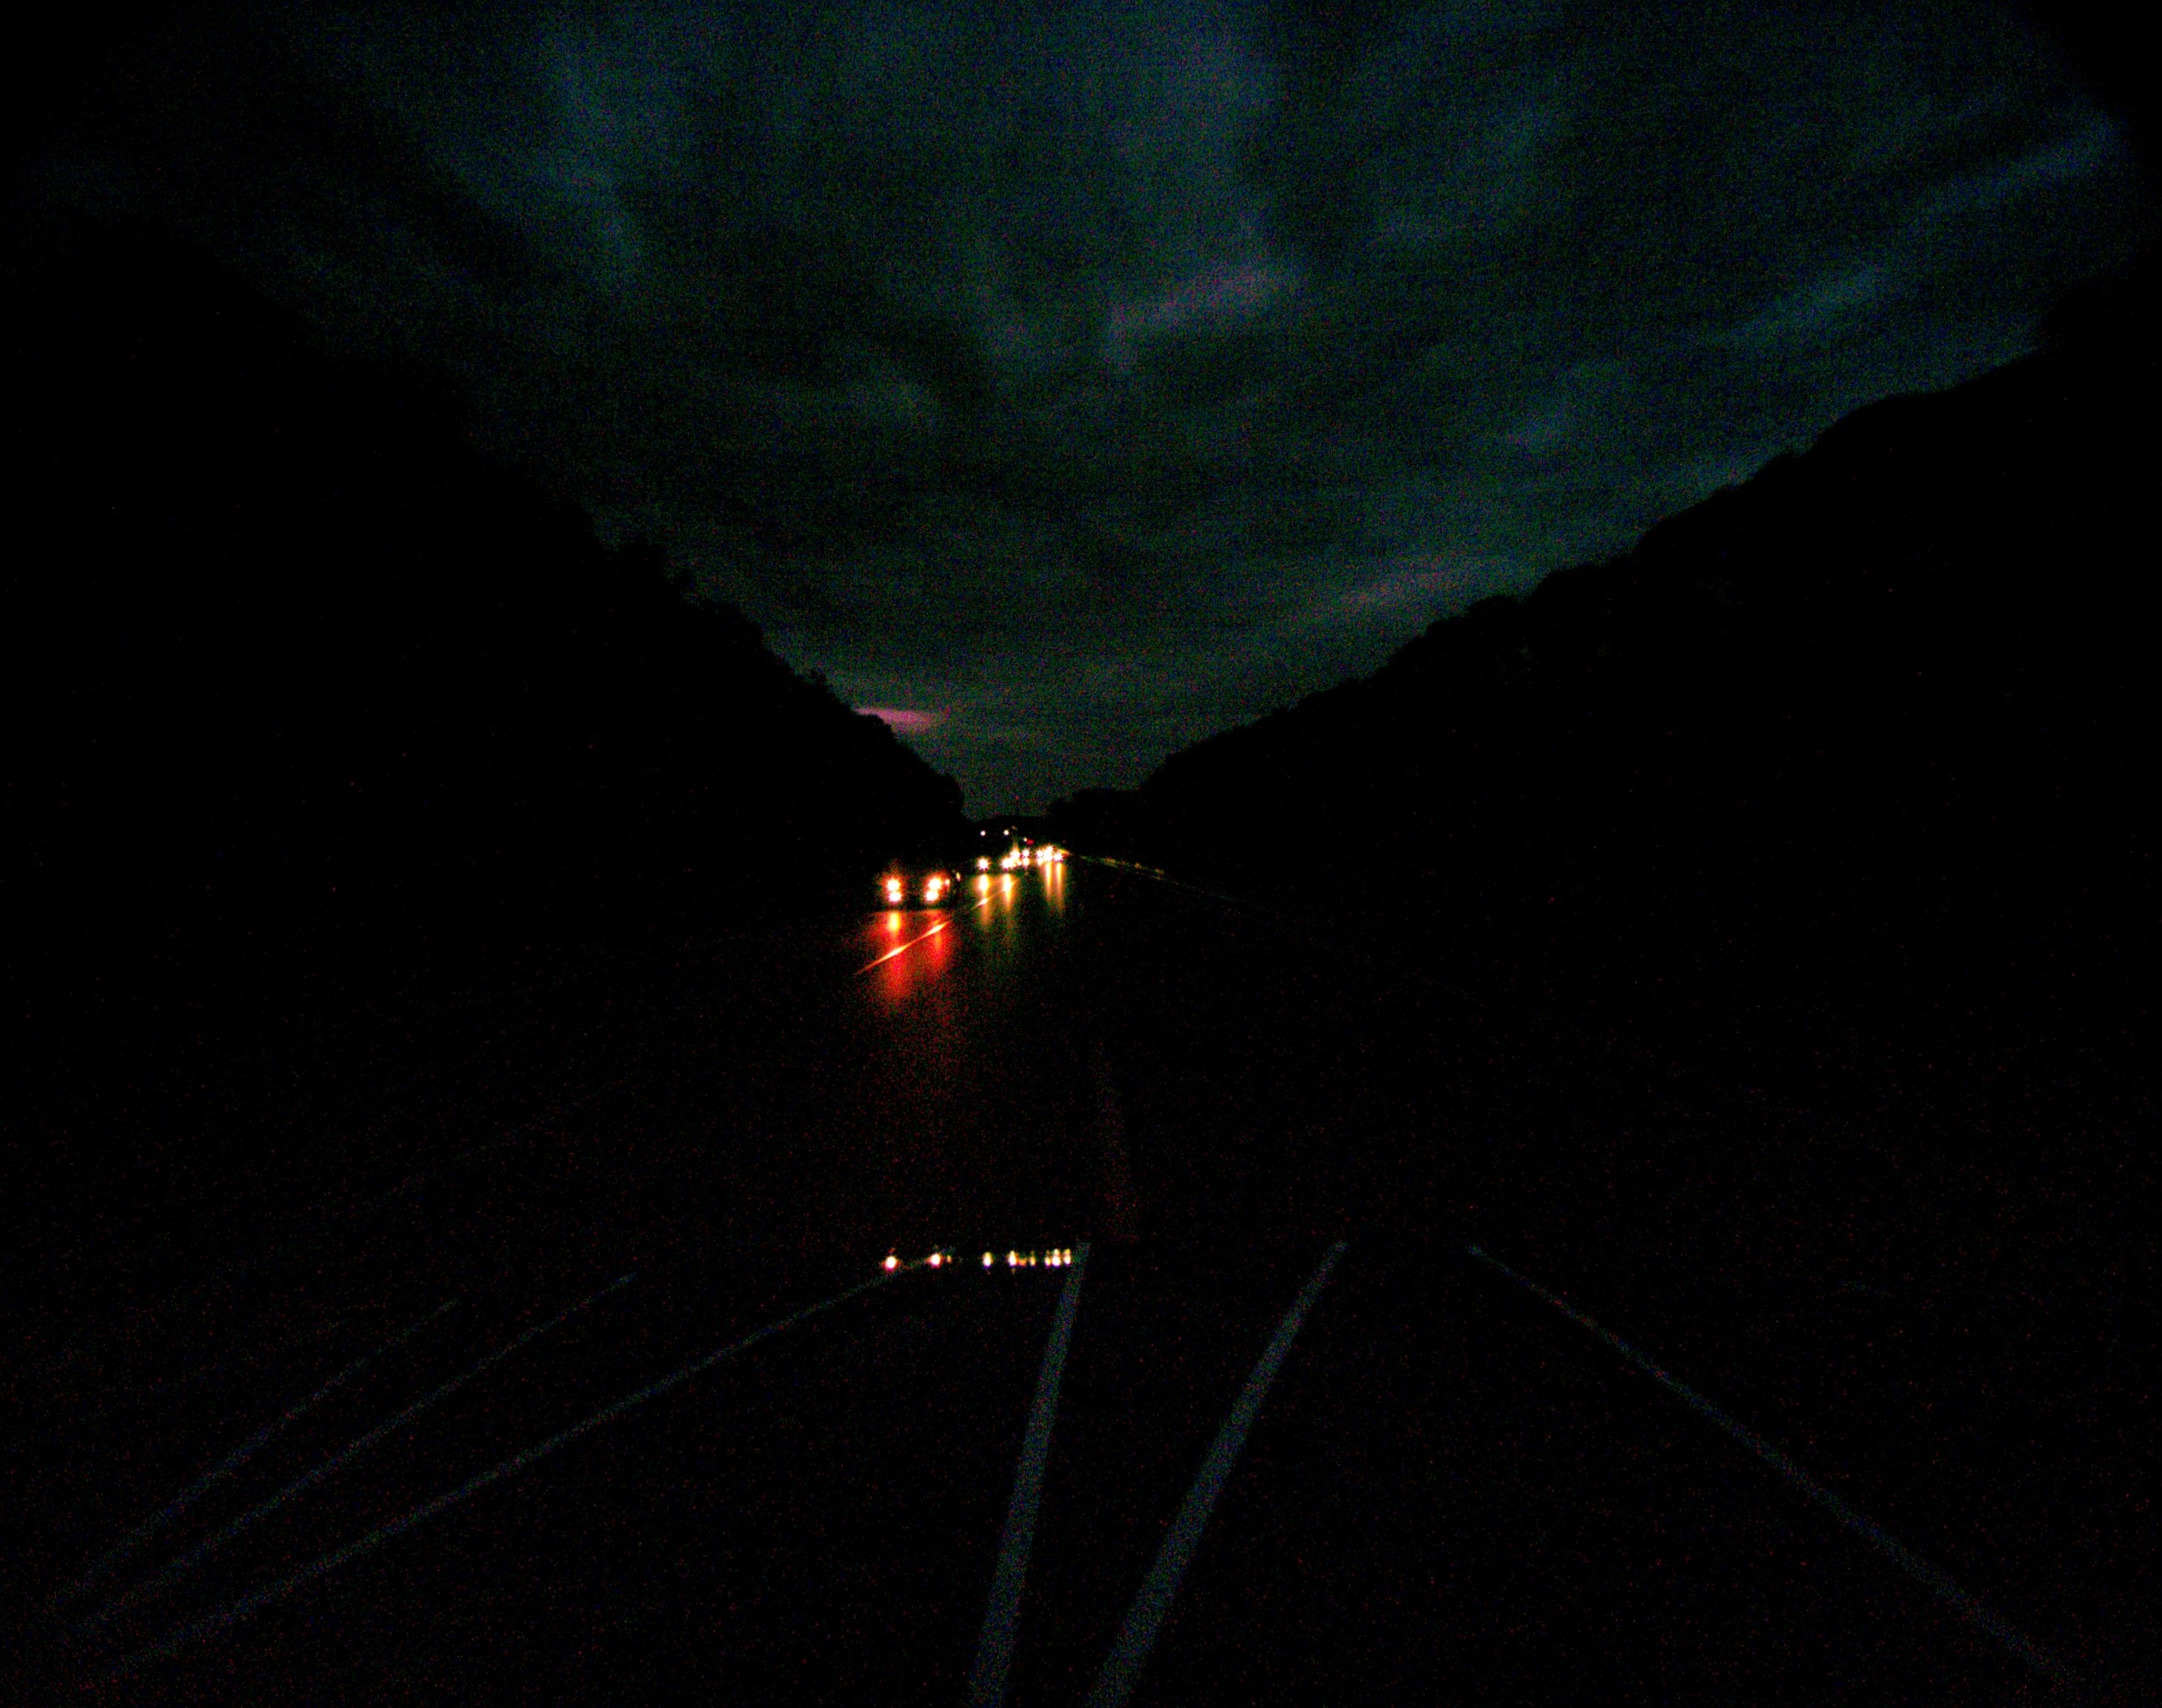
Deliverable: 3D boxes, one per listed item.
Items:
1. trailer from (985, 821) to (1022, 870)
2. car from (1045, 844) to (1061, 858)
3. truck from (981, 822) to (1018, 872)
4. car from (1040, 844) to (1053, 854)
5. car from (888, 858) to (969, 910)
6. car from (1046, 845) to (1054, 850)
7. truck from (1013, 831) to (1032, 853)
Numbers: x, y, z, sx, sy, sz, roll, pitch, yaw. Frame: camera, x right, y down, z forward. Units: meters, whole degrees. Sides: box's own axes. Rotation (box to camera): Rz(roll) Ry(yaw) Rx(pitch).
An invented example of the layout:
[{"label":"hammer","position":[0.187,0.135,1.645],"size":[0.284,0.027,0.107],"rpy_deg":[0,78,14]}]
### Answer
[{"label":"trailer","position":[-7.014,-0.911,70.181],"size":[2.489,4.050,13.497],"rpy_deg":[-2,2,-3]},{"label":"car","position":[-3.630,-0.367,99.388],"size":[1.870,1.701,4.582],"rpy_deg":[-2,1,-1]},{"label":"truck","position":[-6.716,-0.632,63.529],"size":[2.498,3.946,5.588],"rpy_deg":[-2,2,-1]},{"label":"car","position":[-6.239,-0.869,138.012],"size":[1.924,1.706,4.939],"rpy_deg":[-2,2,-6]},{"label":"car","position":[-5.048,0.923,25.755],"size":[1.696,1.481,4.948],"rpy_deg":[-2,0,0]},{"label":"car","position":[-8.247,-1.723,199.981],"size":[1.696,1.481,4.945],"rpy_deg":[-1,1,-6]},{"label":"truck","position":[-11.303,-2.375,146.842],"size":[3.342,3.946,13.526],"rpy_deg":[-2,2,-5]}]
